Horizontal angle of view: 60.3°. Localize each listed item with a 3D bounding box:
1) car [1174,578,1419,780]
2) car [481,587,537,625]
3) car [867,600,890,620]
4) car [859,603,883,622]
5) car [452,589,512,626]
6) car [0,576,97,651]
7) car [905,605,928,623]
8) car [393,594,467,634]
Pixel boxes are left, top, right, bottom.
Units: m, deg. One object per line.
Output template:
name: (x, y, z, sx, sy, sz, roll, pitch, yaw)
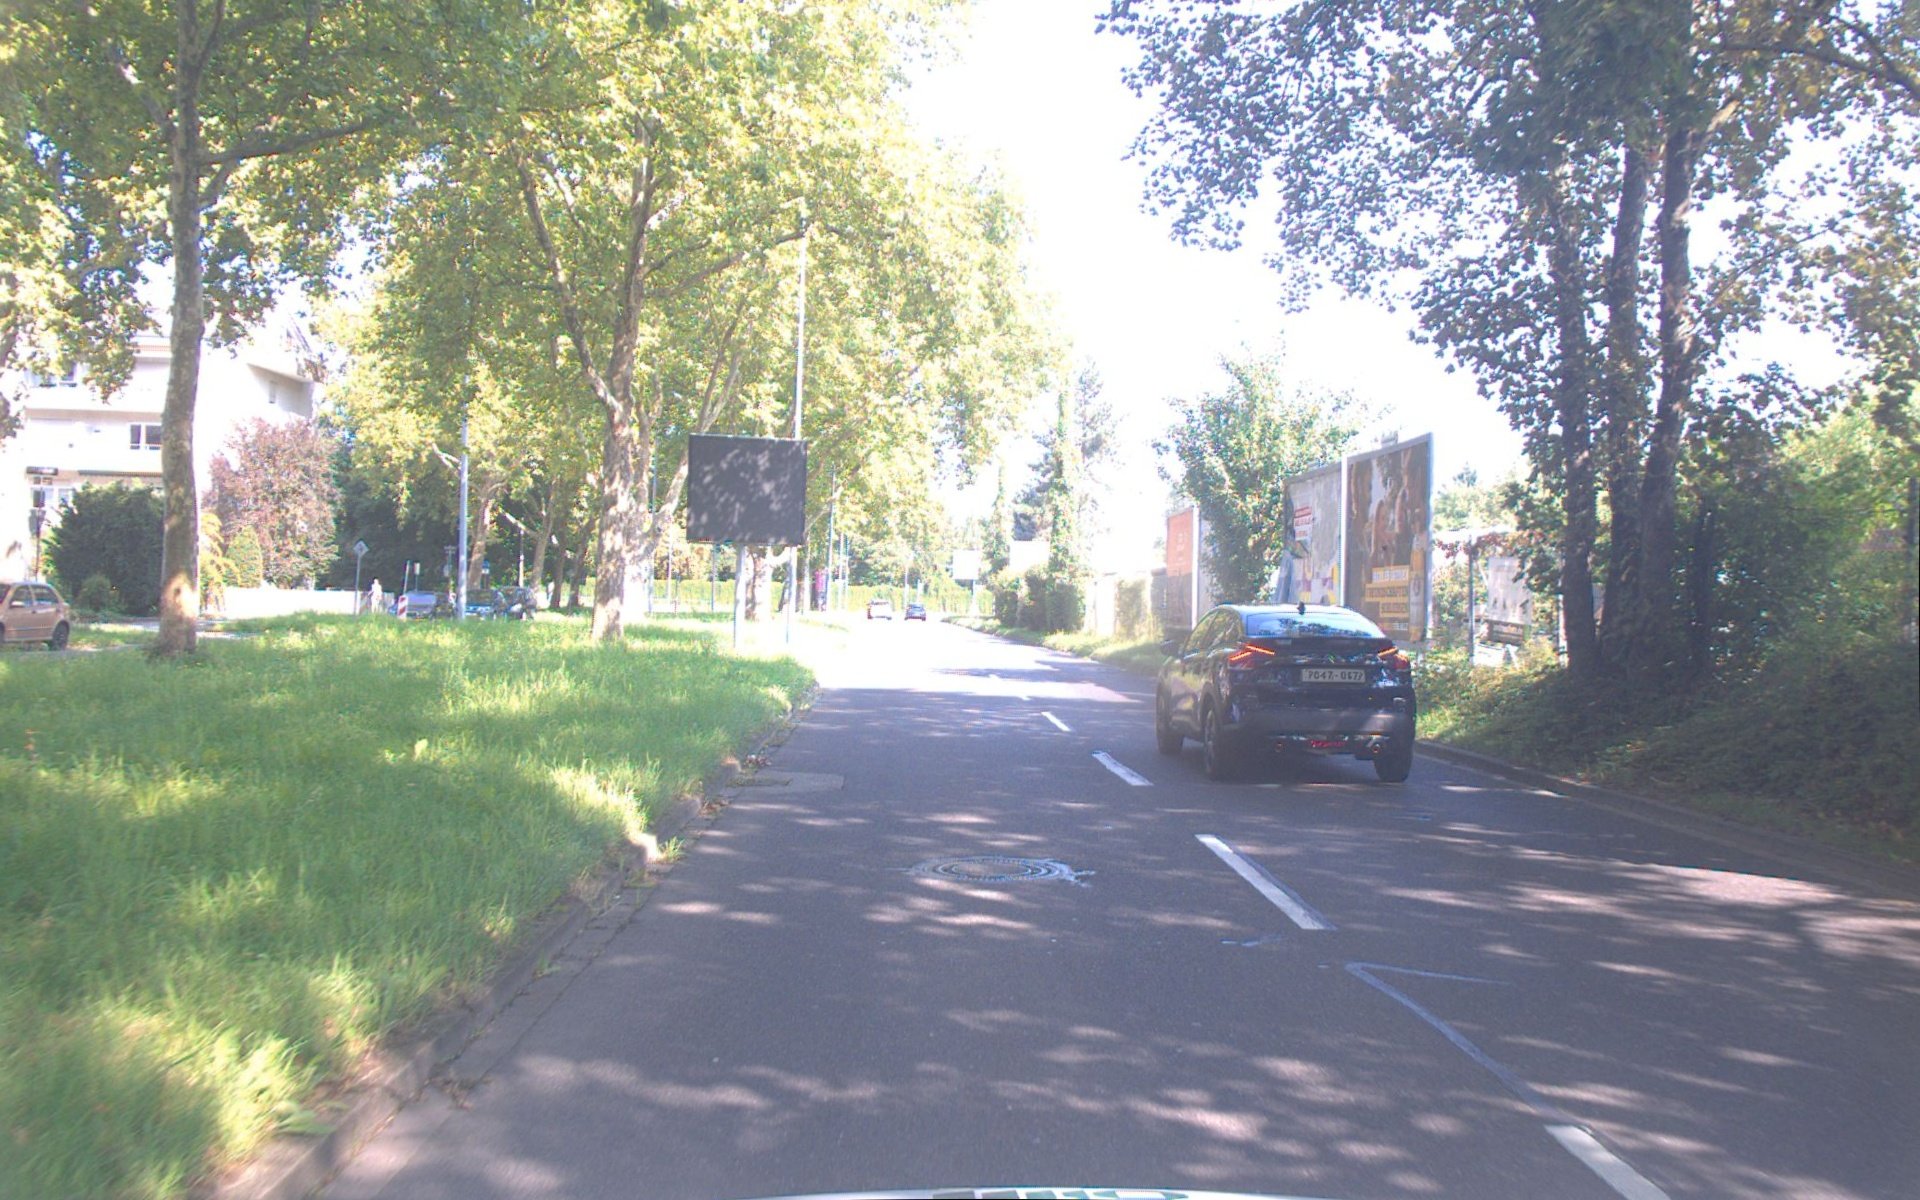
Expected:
car: (3.007, 0.665, 15.575, 1.611, 1.616, 4.256, 1, -1, 3)
car: (-22.570, 0.316, 82.863, 1.665, 1.762, 4.657, 2, -1, -3)
car: (-6.381, 0.782, 129.539, 1.653, 1.487, 3.998, 2, -1, -2)
car: (-7.395, 1.041, 137.365, 1.652, 1.487, 3.850, 2, -1, 1)
car: (-21.634, 0.360, 74.974, 1.665, 1.595, 3.998, 1, 0, -3)
car: (-19.678, 0.239, 34.012, 1.765, 1.455, 4.063, 2, 0, -1)
car: (-3.676, 1.208, 138.414, 1.762, 1.426, 3.997, 2, -1, -4)
car: (-21.167, 0.561, 66.194, 1.665, 1.534, 4.538, 1, 0, -3)
